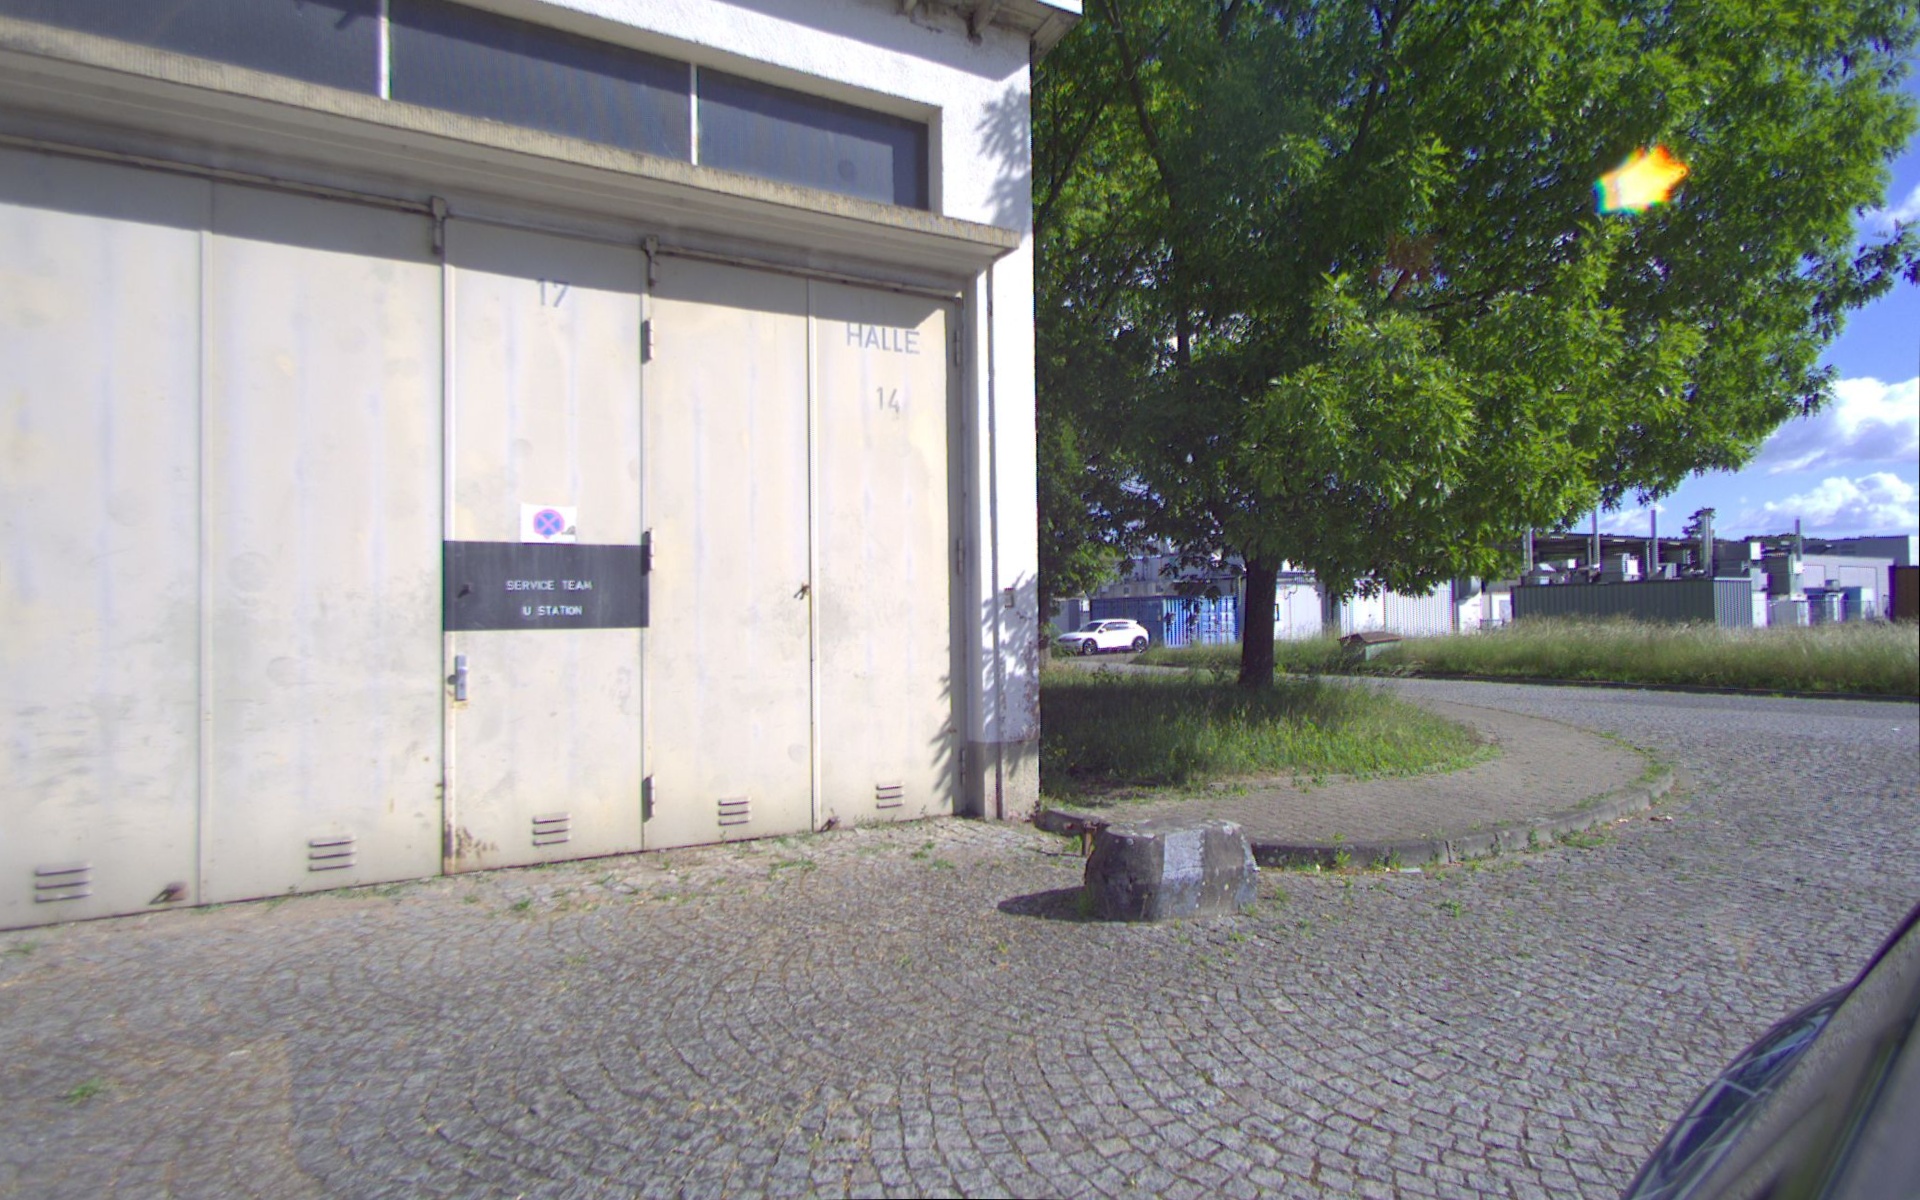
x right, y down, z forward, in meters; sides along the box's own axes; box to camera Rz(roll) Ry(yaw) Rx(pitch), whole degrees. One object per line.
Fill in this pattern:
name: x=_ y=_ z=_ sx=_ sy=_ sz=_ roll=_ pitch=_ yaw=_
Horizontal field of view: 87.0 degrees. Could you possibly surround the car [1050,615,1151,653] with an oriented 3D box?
car: x=6.562 y=1.553 z=47.071 sx=4.430 sy=1.614 sz=1.825 roll=-1 pitch=-2 yaw=-30
